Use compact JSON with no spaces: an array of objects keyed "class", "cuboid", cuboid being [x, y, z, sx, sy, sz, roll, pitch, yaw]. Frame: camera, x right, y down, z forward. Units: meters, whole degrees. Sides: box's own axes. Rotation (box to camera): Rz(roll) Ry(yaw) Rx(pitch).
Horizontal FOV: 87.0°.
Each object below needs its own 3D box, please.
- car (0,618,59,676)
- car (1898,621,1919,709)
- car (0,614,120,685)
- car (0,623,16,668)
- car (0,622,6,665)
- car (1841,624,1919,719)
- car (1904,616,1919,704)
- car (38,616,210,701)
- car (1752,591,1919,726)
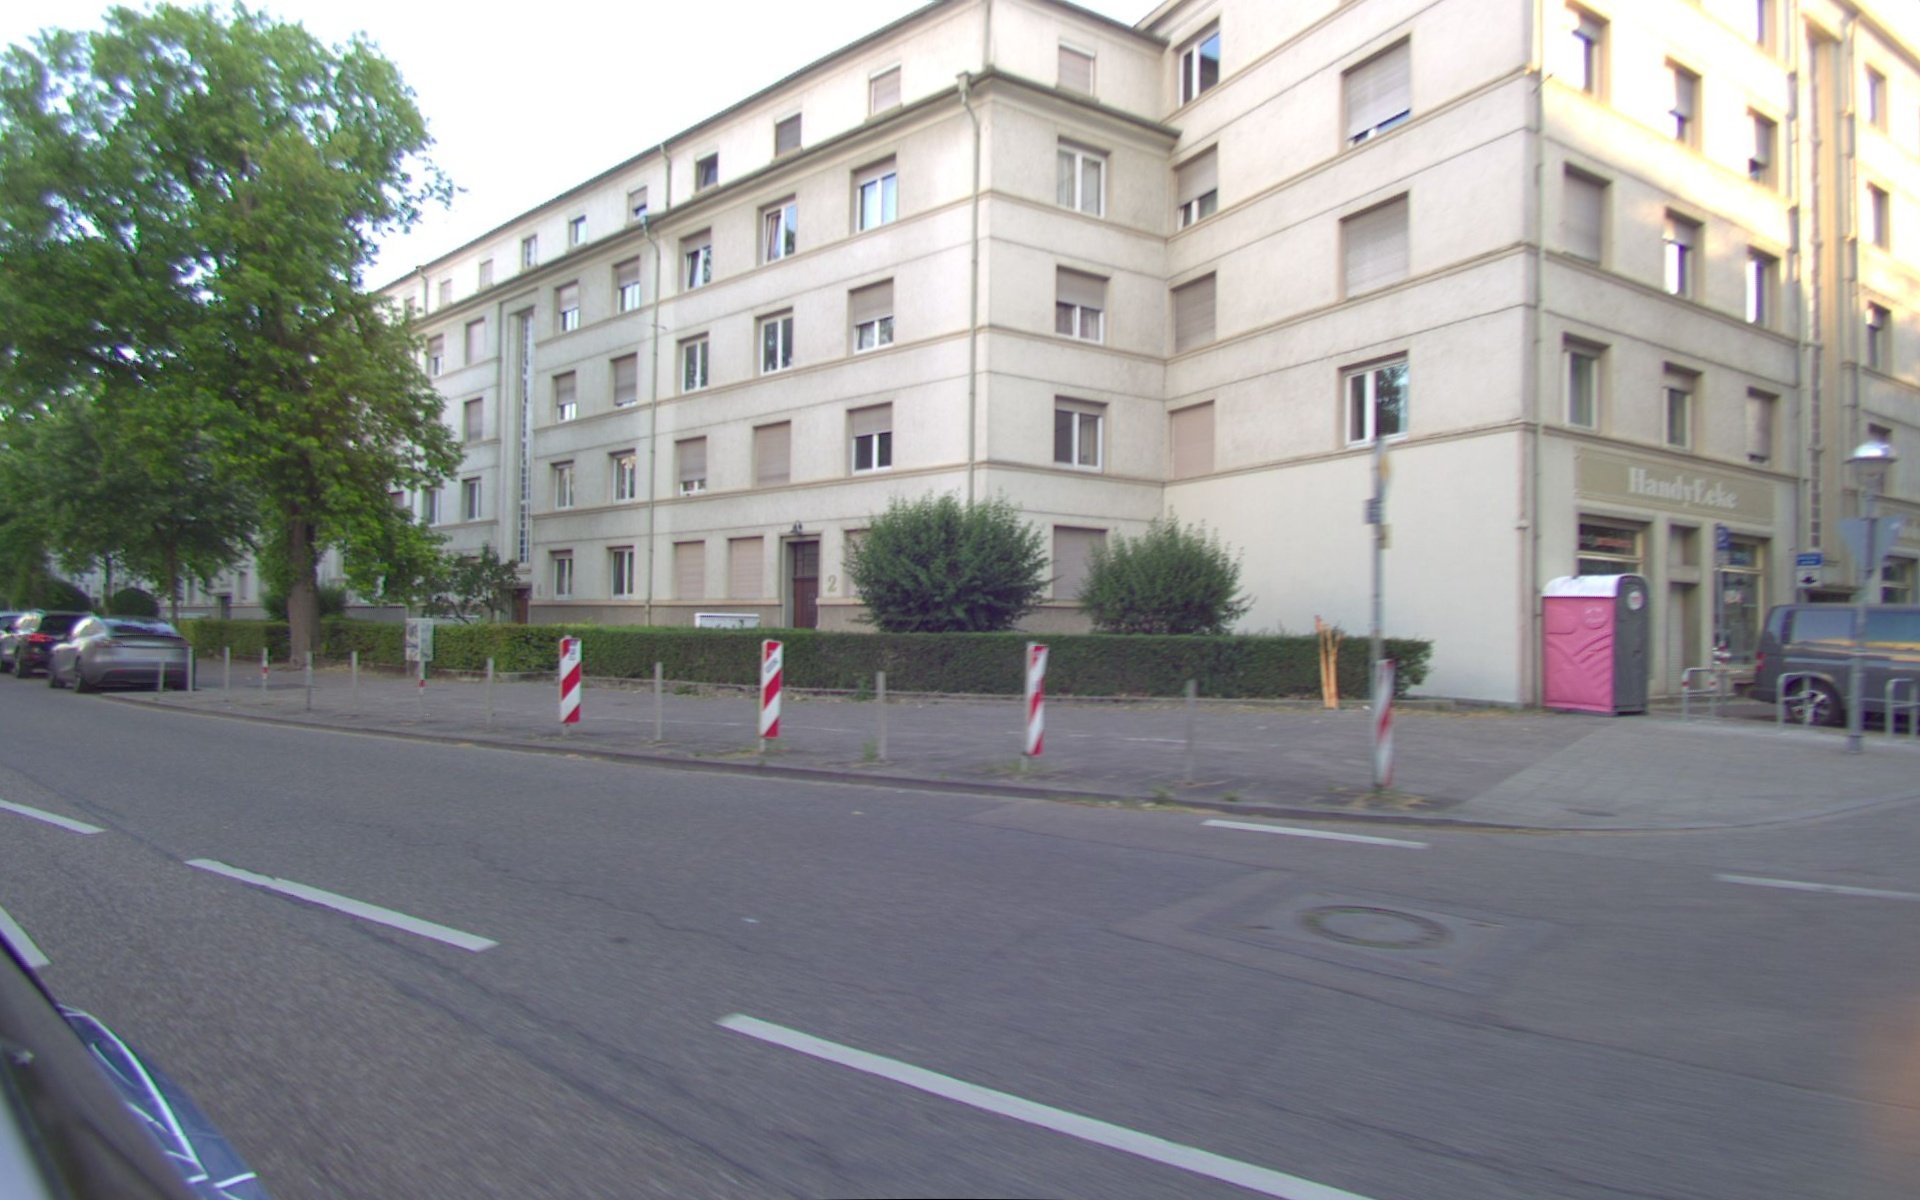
[{"class":"car","cuboid":[-29.957,1.423,31.582,4.852,1.704,1.829,-1,-4,38]},{"class":"car","cuboid":[19.344,1.192,17.384,2.014,1.607,4.352,1,-1,-31]},{"class":"car","cuboid":[-24.191,1.299,26.871,4.766,1.732,1.934,-1,-4,39]},{"class":"car","cuboid":[-34.107,1.526,35.104,4.271,1.508,1.713,-2,-4,44]},{"class":"car","cuboid":[-37.723,1.578,38.380,4.113,1.613,1.690,-1,-5,40]},{"class":"car","cuboid":[17.193,1.185,16.154,1.898,1.550,4.352,1,-1,-31]},{"class":"car","cuboid":[21.223,1.215,19.304,1.898,1.763,4.352,1,-1,-31]},{"class":"car","cuboid":[-18.013,1.221,21.732,4.600,1.629,1.934,-1,-4,40]},{"class":"car","cuboid":[15.097,0.875,15.048,1.966,1.988,4.861,1,-1,-30]}]
